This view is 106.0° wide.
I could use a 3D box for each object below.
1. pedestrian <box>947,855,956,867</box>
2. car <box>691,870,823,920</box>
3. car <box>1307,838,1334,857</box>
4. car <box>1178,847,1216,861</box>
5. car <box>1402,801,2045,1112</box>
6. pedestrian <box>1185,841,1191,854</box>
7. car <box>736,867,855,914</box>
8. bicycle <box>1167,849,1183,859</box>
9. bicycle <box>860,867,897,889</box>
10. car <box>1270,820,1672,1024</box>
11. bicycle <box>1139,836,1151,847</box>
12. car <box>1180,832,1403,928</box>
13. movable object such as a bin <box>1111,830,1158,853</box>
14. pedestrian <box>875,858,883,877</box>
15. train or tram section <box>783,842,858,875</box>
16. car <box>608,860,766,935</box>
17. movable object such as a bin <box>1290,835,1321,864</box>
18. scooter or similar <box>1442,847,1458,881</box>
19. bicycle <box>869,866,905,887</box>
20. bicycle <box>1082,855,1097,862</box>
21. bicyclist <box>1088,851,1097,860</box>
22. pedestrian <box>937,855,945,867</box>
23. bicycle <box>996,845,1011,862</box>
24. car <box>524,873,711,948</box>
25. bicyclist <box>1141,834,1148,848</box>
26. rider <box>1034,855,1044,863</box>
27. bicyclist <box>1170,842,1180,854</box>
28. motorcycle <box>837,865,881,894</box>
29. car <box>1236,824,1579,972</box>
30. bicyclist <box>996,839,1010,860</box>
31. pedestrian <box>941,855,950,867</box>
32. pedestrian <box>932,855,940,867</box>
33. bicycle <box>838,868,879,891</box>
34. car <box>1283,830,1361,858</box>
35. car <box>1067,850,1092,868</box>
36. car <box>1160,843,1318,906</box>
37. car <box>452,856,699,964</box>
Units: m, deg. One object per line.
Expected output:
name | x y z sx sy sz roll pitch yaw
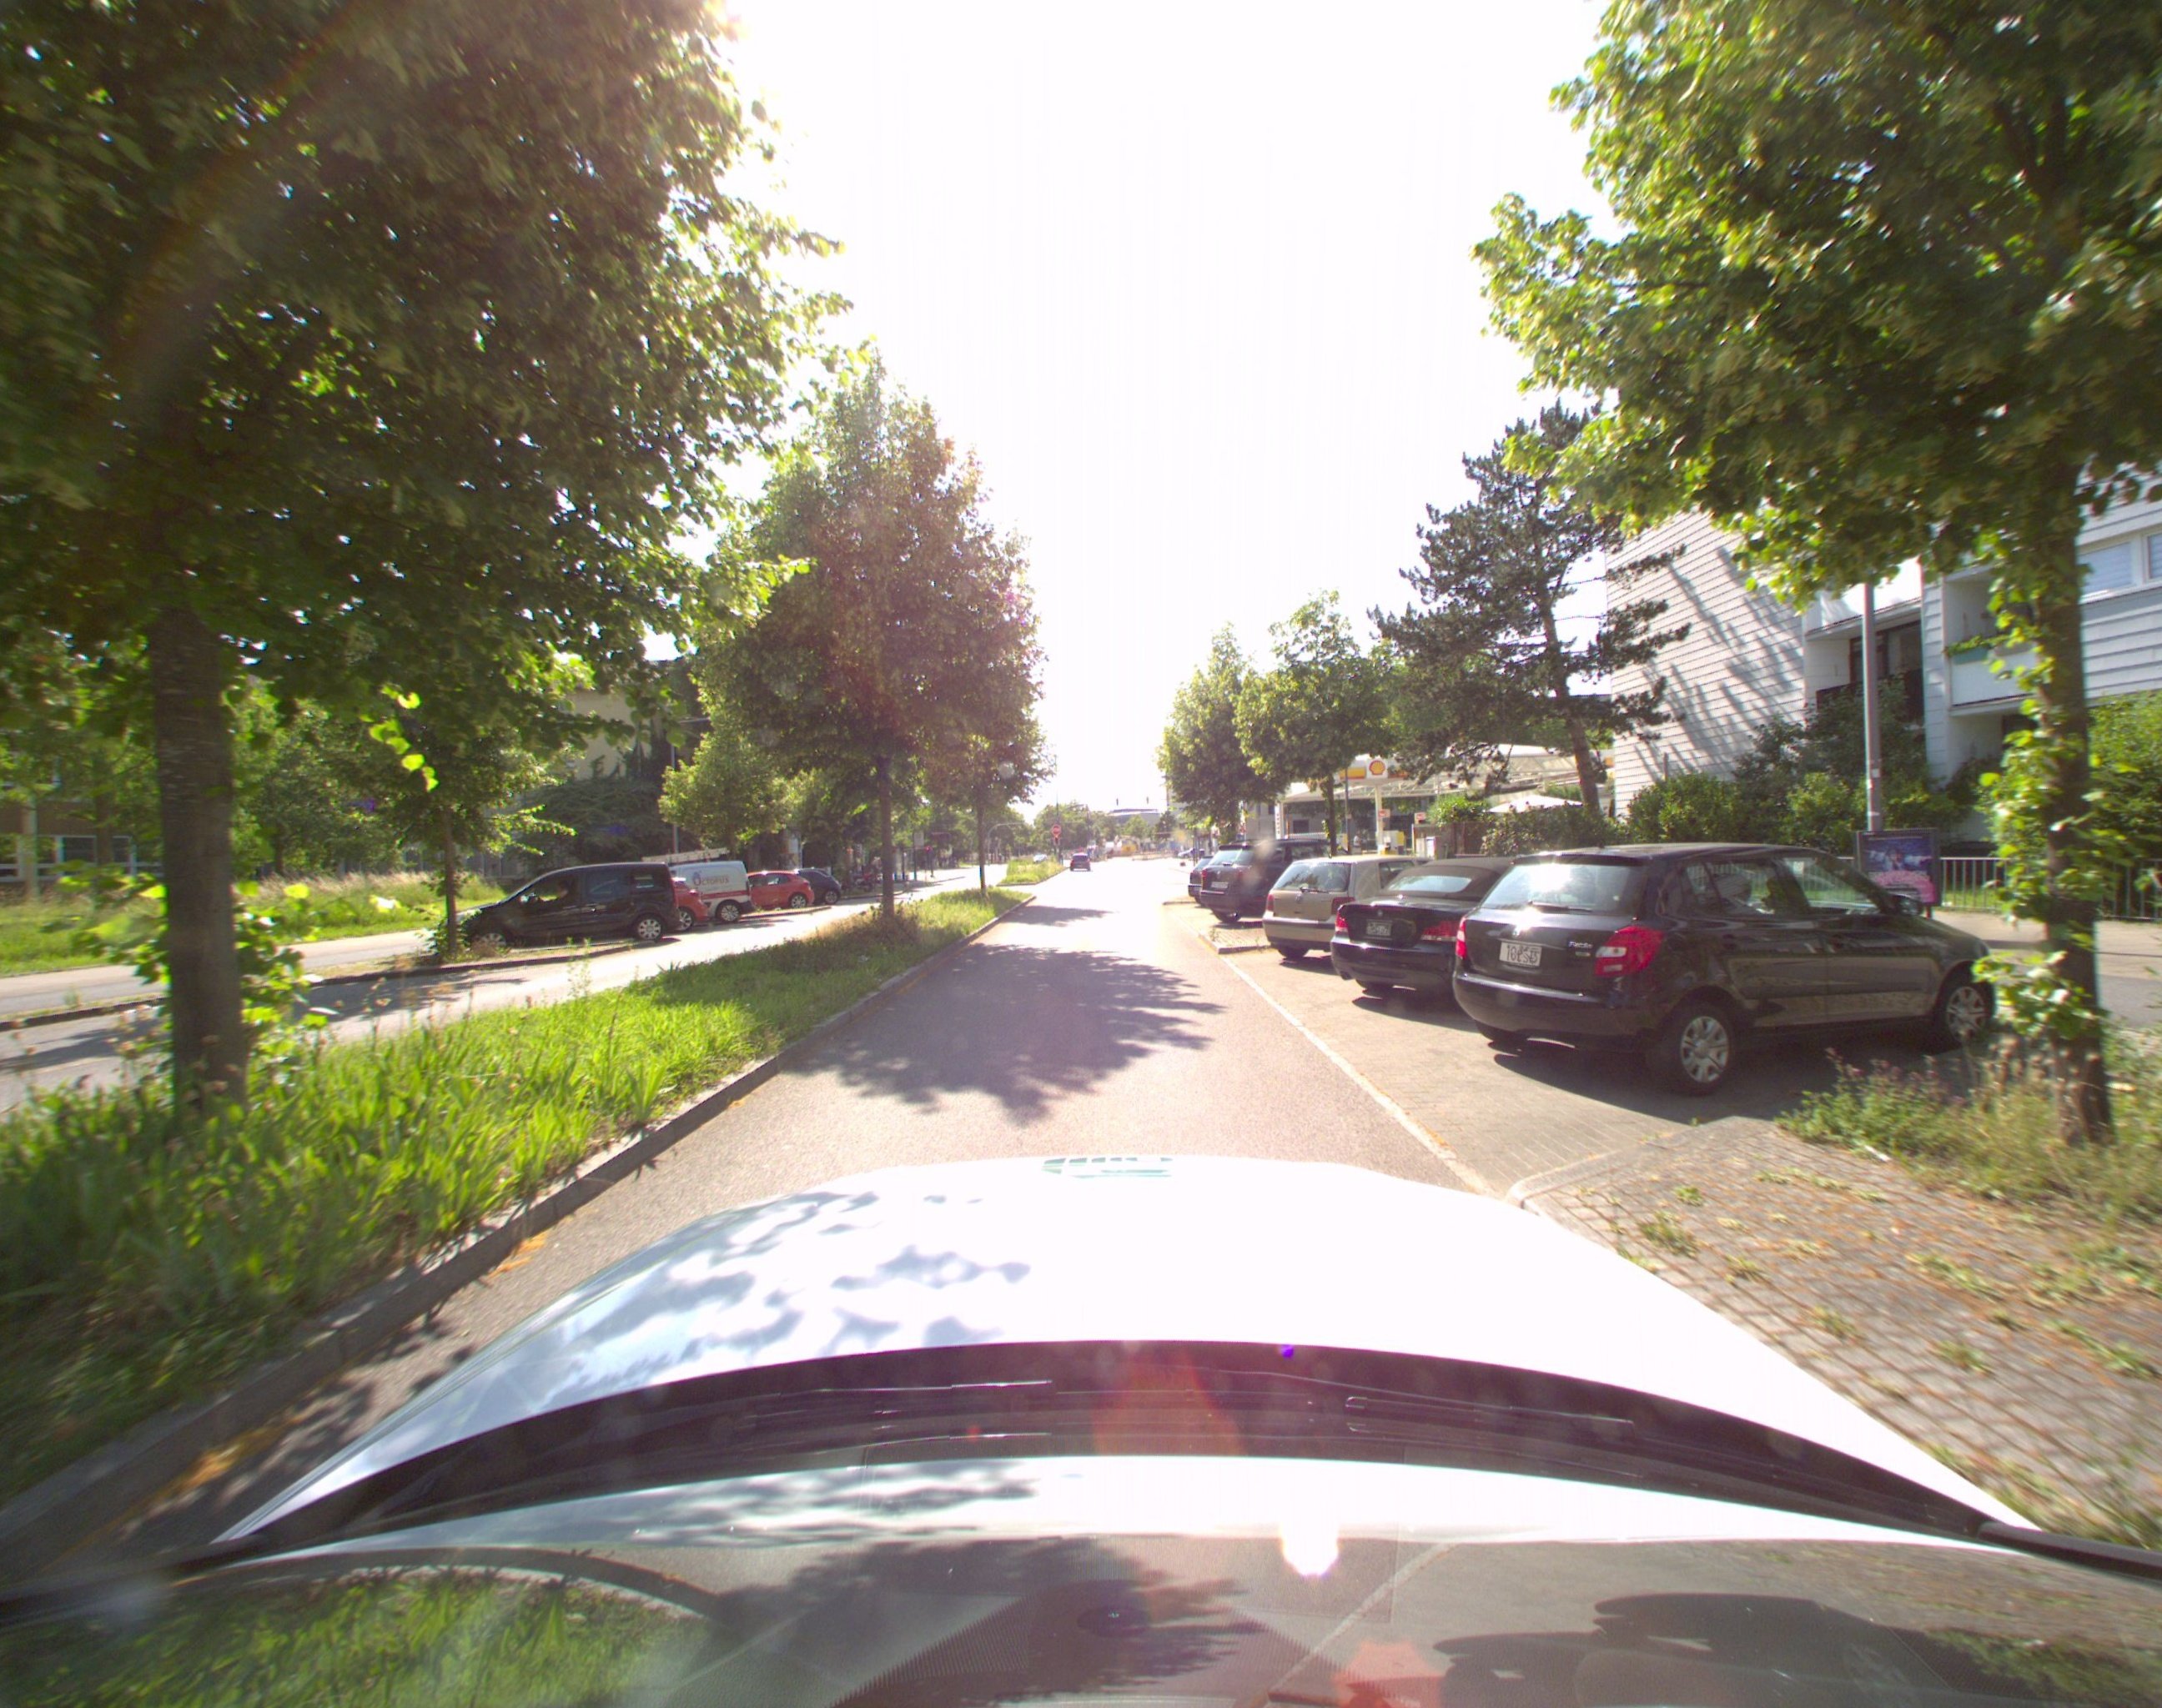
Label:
pedestrian | -17.928 0.933 112.771 0.660 1.611 0.947 -2 0 25
car | -11.042 1.350 27.820 3.858 1.423 1.697 -3 0 -34
car | 18.328 -0.503 62.408 1.639 1.398 3.654 -3 0 12
car | 14.725 -0.008 103.512 4.370 1.638 1.999 -3 0 -2
car | 4.666 0.538 6.034 3.998 1.640 1.790 -3 0 -18
pedestrian | 15.307 -0.902 116.744 0.529 1.771 0.717 -2 0 -12
car | -10.774 1.355 30.817 3.794 1.423 1.834 -4 0 -39
bicycle | 13.365 0.001 116.085 2.215 1.285 0.526 -2 0 9
bicycle | -11.274 1.317 45.364 1.838 1.106 0.693 -2 0 2
car | 4.182 0.549 8.663 4.008 1.639 1.738 -3 1 -27
bicycle | 11.809 -2.342 150.682 2.076 1.962 0.829 -2 0 7
car | 4.508 0.461 17.156 4.764 1.660 1.735 -3 0 -33
movable object such as a bin | 11.220 -2.653 171.845 9.635 4.549 3.167 -2 0 3
pedestrian | -19.665 1.318 79.220 0.660 1.726 0.749 -3 0 -16
train or tram section | -30.275 0.501 94.867 7.531 3.332 3.119 -3 0 0
car | -10.986 1.144 22.772 3.786 1.772 1.802 -3 0 -30
movable object such as a bin | 13.485 -0.253 48.974 1.304 1.592 1.395 -5 0 -1
scooter or similar | 12.969 0.329 28.632 0.229 1.166 0.960 -2 0 9
bicycle | -11.117 1.267 46.628 1.838 1.122 0.693 -2 0 2
bicycle | 1.116 0.626 112.047 1.997 0.883 0.526 -3 0 -5
bicyclist | 1.568 0.188 112.110 1.050 1.274 0.491 -2 0 -6
pedestrian | -19.257 0.993 112.249 0.648 1.611 0.947 -2 0 25
bicycle | -11.168 -0.077 117.487 1.594 2.269 4.002 -3 0 2
car | -11.326 1.307 20.117 3.786 1.427 1.838 -4 1 -30
bicyclist | 11.730 -2.473 150.705 1.063 2.574 0.829 -2 0 7
rider | -6.346 0.756 124.431 1.387 1.196 2.697 -2 0 -1
bicyclist | 13.407 -0.904 116.069 1.232 1.673 0.526 -2 0 9
motorcycle | -10.569 1.191 38.789 1.842 1.284 0.692 -2 0 -6
car | 4.351 0.519 11.094 3.988 1.640 1.746 -3 0 -11
bicyclist | -11.210 -0.608 116.671 1.594 2.931 2.354 -3 0 1
pedestrian | -18.550 0.962 111.485 0.648 1.611 0.947 -2 0 25
pedestrian | -20.033 1.028 112.292 0.648 1.611 0.947 -2 0 25
bicycle | -11.397 1.302 41.773 1.838 1.092 0.693 -2 0 2
car | 25.887 -1.092 87.677 7.409 2.674 2.901 -3 1 -2
car | -0.163 0.369 69.134 1.988 1.398 3.998 -2 0 -2
car | 4.564 0.552 23.483 4.129 1.530 1.981 -3 0 -29
car | -10.709 1.075 17.426 4.208 1.816 1.982 -4 1 -36
